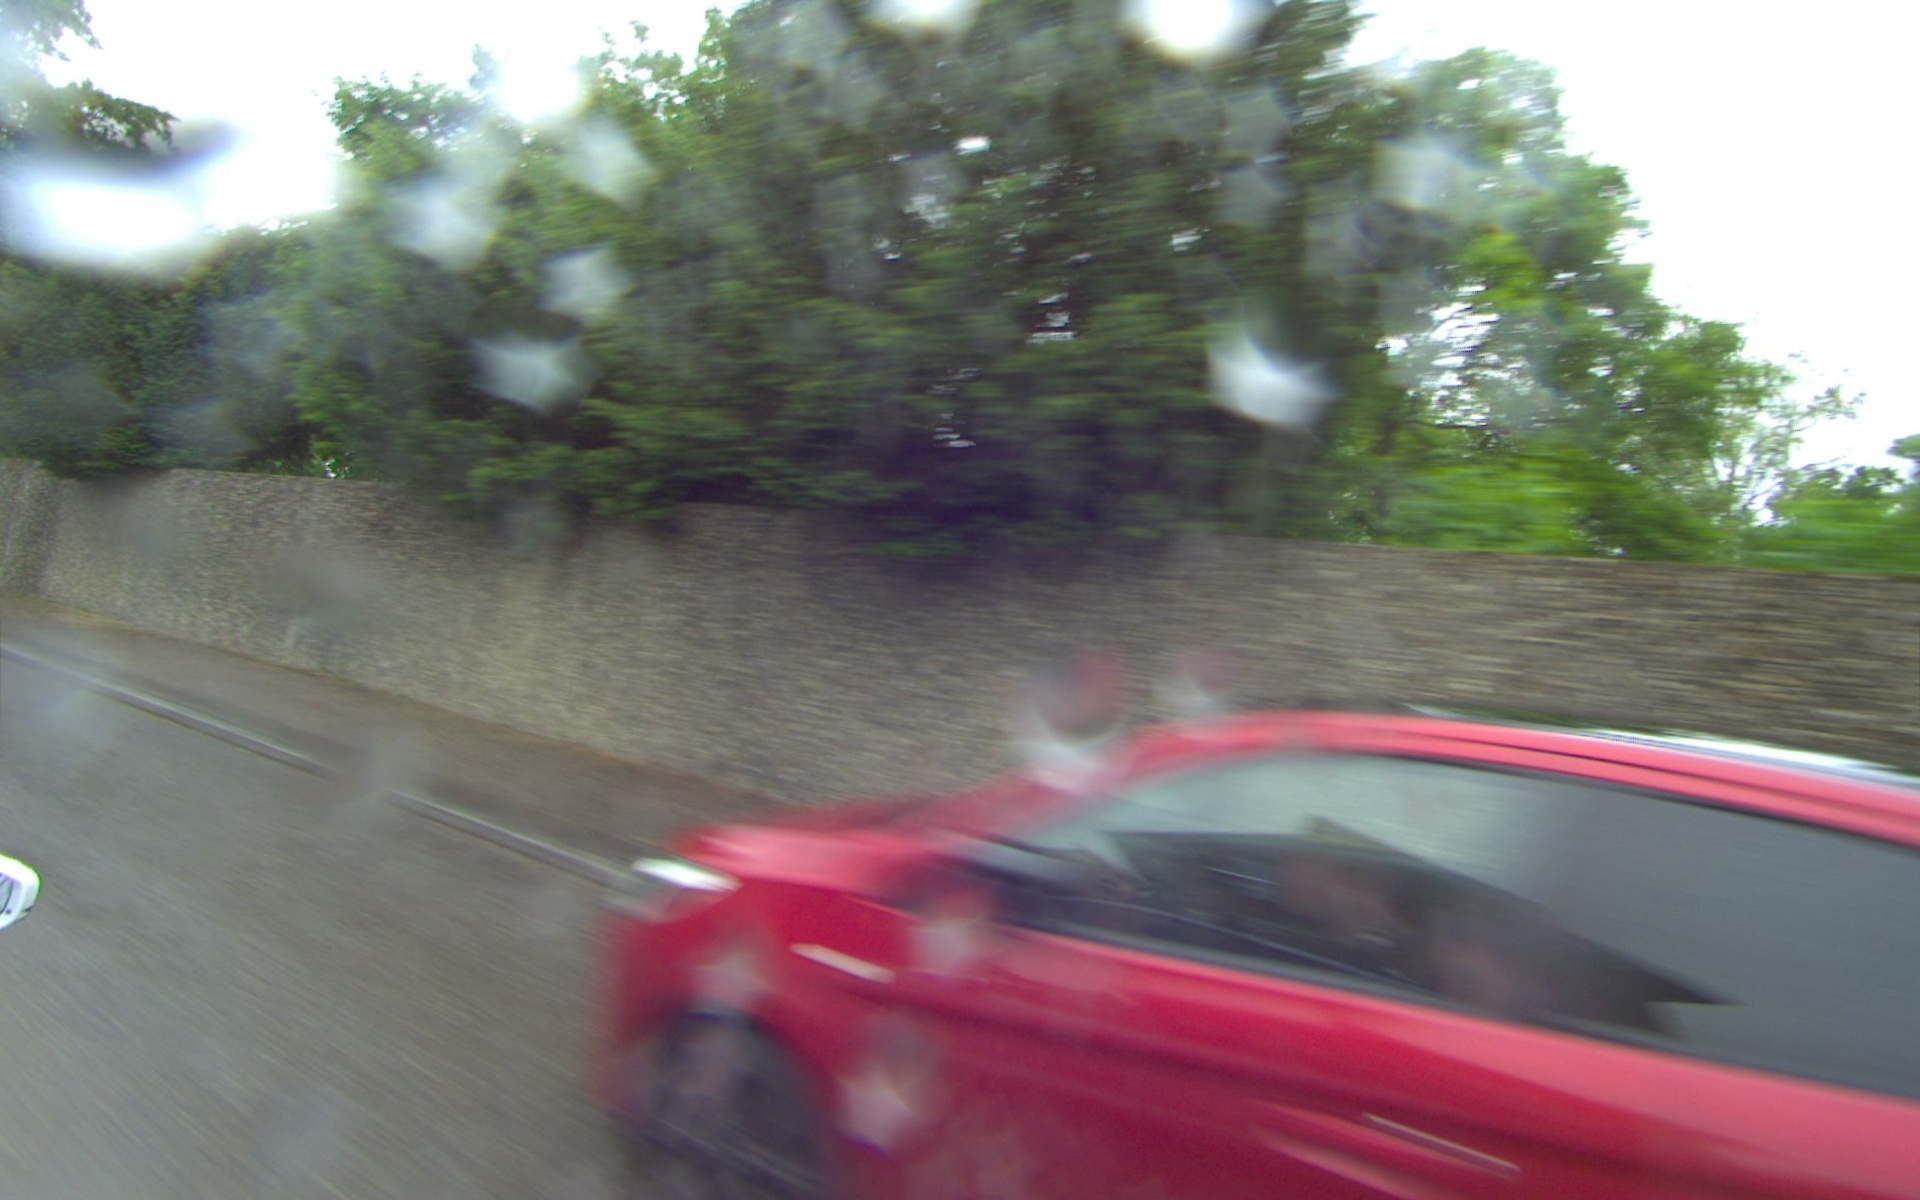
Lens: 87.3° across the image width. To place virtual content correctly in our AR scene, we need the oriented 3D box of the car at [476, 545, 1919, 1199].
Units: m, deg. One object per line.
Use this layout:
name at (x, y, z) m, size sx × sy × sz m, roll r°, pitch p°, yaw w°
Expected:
car at (0.802, 0.852, 2.334) m, size 3.601 × 1.472 × 1.587 m, roll 7°, pitch -1°, yaw 30°
